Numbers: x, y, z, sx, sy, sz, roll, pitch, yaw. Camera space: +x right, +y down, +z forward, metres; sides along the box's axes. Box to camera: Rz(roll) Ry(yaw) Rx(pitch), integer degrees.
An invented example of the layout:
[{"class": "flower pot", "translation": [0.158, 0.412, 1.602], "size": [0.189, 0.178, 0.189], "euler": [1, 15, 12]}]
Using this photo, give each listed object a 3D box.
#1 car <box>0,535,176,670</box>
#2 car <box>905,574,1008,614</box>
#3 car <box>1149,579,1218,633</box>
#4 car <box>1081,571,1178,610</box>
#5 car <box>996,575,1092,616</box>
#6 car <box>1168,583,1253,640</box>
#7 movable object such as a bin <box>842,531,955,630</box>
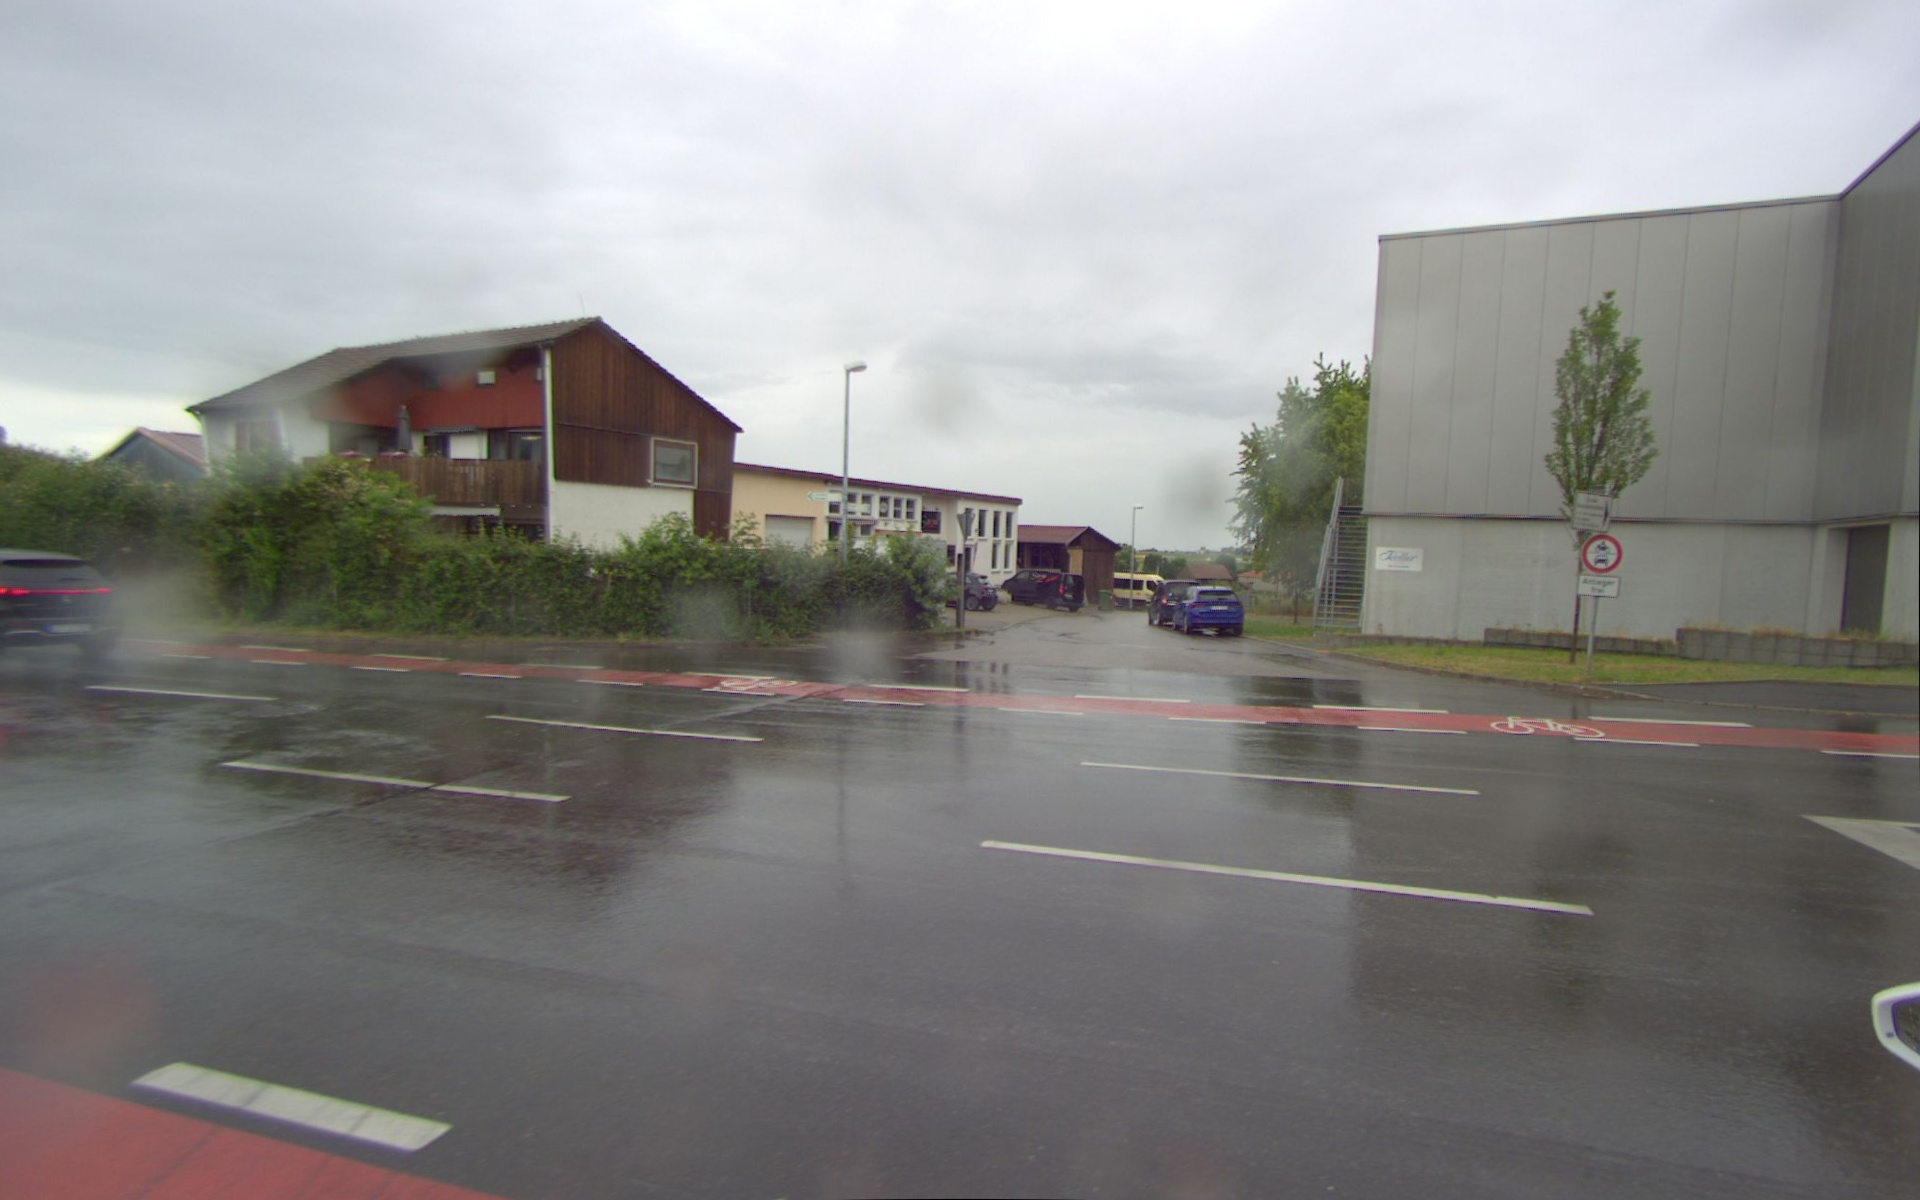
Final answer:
[{"class": "car", "translation": [-15.909, -0.075, 15.723], "size": [6.740, 1.840, 2.362], "euler": [2, 1, 18]}, {"class": "car", "translation": [-0.160, -0.275, 42.915], "size": [3.928, 1.576, 1.996], "euler": [2, 0, 30]}, {"class": "car", "translation": [8.394, 0.204, 38.138], "size": [2.038, 1.859, 4.473], "euler": [2, 0, 6]}, {"class": "car", "translation": [11.367, -0.642, 67.423], "size": [5.923, 2.447, 2.458], "euler": [2, 0, 32]}, {"class": "car", "translation": [4.186, -0.245, 50.378], "size": [4.336, 1.930, 1.994], "euler": [2, 0, 35]}, {"class": "car", "translation": [7.887, 0.344, 31.973], "size": [1.918, 1.631, 4.448], "euler": [2, 0, 5]}, {"class": "movable object such as a bin", "translation": [-1.656, -0.519, 28.094], "size": [1.705, 2.590, 3.337], "euler": [2, 0, 25]}]
